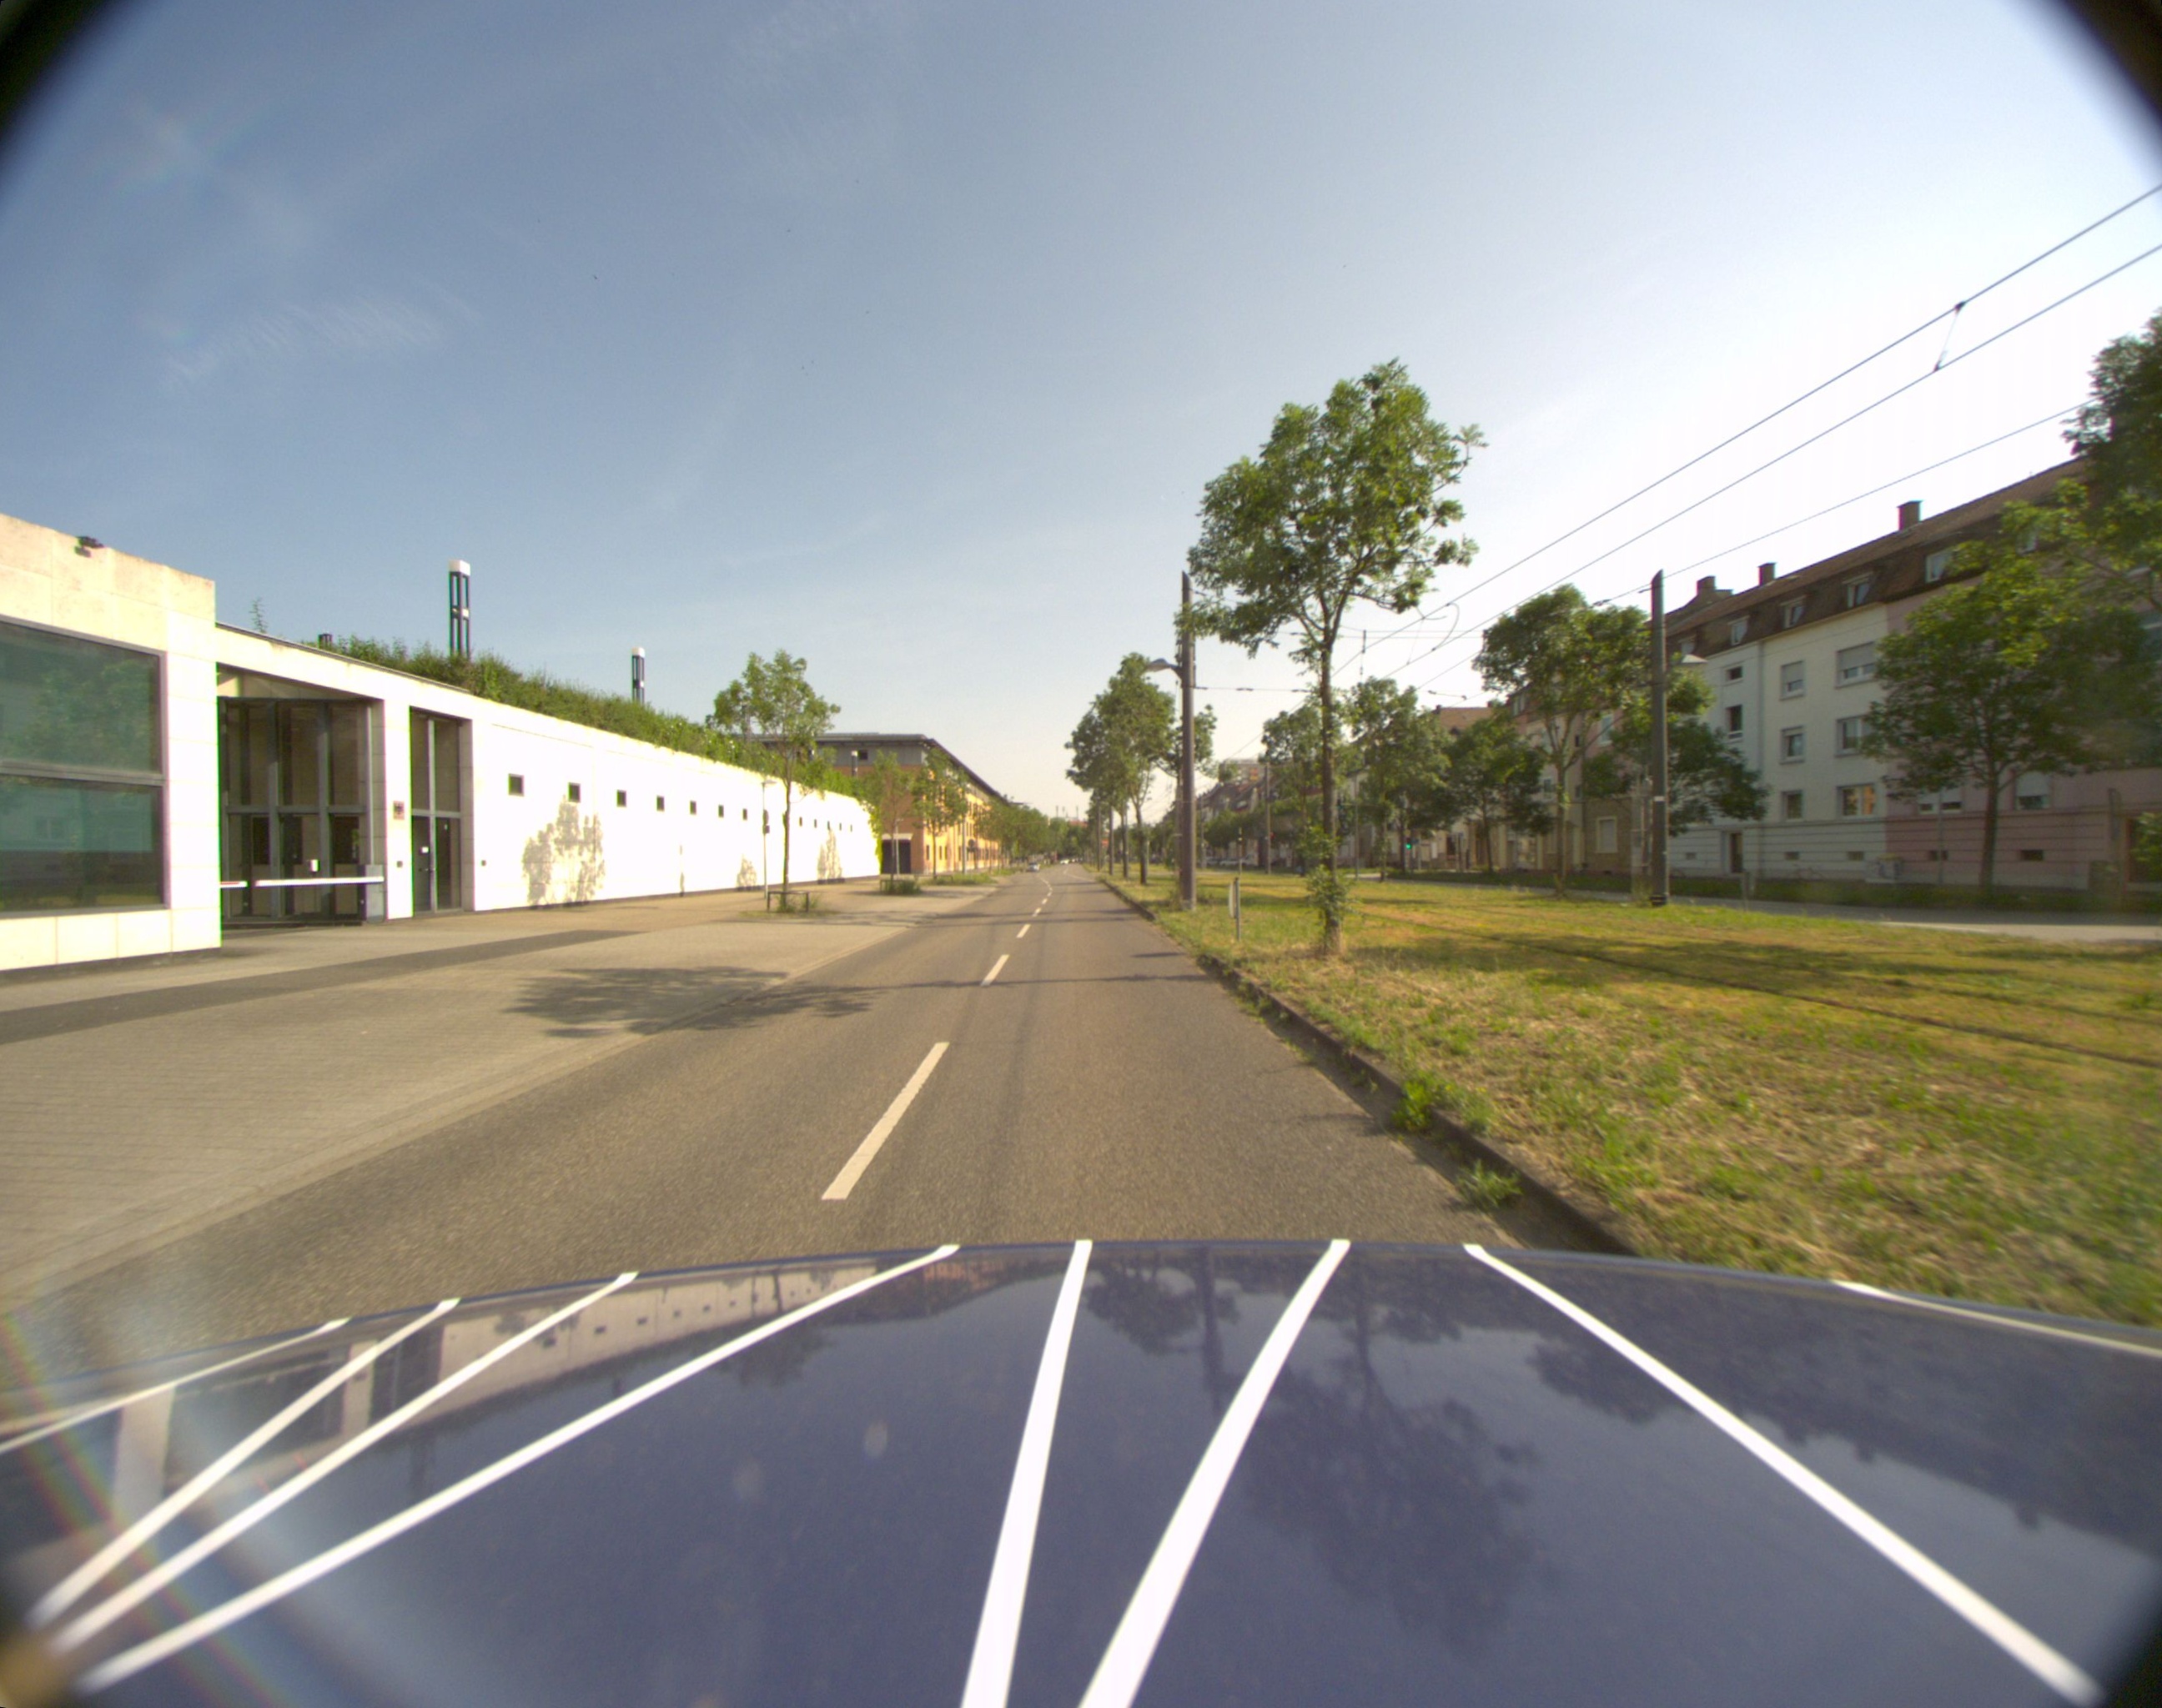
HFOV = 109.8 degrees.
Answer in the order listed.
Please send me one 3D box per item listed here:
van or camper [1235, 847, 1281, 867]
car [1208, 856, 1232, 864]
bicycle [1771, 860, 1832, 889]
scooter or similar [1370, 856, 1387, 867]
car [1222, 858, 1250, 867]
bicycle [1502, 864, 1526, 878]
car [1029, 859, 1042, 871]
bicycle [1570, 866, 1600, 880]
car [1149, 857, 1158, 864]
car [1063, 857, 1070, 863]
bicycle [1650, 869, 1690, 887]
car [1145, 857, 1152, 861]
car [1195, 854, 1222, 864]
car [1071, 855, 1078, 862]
[{"bbox_3d":[25.390,0.422,108.929,5.910,2.558,2.203,-3,1,34],"label":"van or camper"},{"bbox_3d":[24.752,1.118,135.302,3.677,1.234,1.665,-3,1,34],"label":"car"},{"bbox_3d":[30.159,0.852,31.842,0.605,1.121,1.947,-3,1,-2],"label":"bicycle"},{"bbox_3d":[30.317,0.791,77.446,0.743,1.062,1.486,-3,1,-22],"label":"scooter or similar"},{"bbox_3d":[24.861,1.323,121.922,4.004,1.309,1.665,-3,1,34],"label":"car"},{"bbox_3d":[30.180,1.200,52.958,0.469,0.884,1.947,-3,1,-2],"label":"bicycle"},{"bbox_3d":[-6.224,1.487,103.875,1.629,1.476,3.365,-3,1,-2],"label":"car"},{"bbox_3d":[30.184,1.146,45.561,0.438,0.784,1.947,-3,1,-2],"label":"bicycle"},{"bbox_3d":[18.317,1.630,192.707,1.817,1.425,3.925,-3,1,-1],"label":"car"},{"bbox_3d":[-3.908,1.477,198.609,1.693,1.476,3.365,-3,1,-2],"label":"car"},{"bbox_3d":[30.094,1.216,38.876,0.448,0.852,1.947,-3,1,-2],"label":"bicycle"},{"bbox_3d":[21.883,1.621,247.711,1.952,1.451,4.648,-3,0,2],"label":"car"},{"bbox_3d":[24.967,0.894,148.846,4.939,1.716,1.860,-3,1,34],"label":"car"},{"bbox_3d":[-2.082,1.343,233.041,1.998,2.002,4.000,-3,1,1],"label":"car"}]
